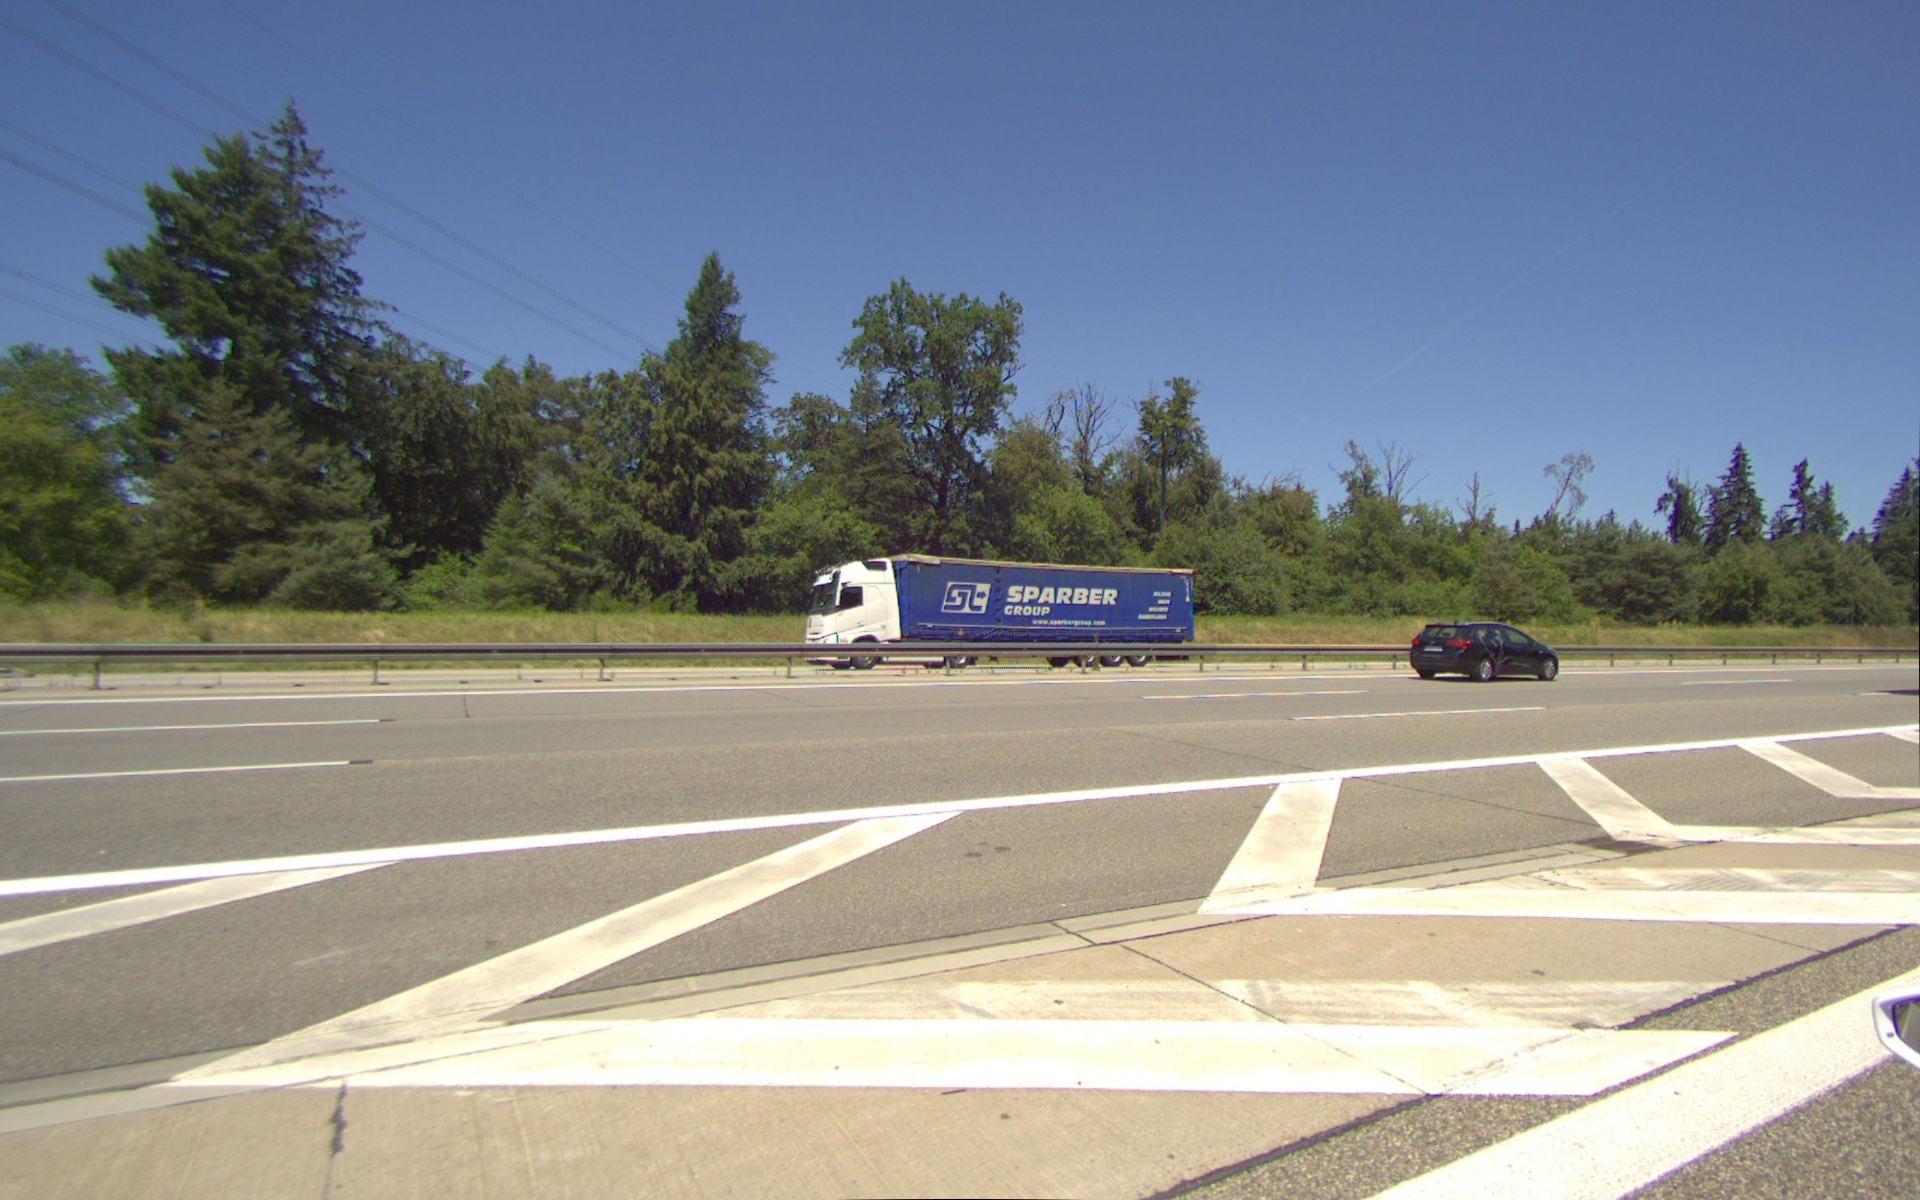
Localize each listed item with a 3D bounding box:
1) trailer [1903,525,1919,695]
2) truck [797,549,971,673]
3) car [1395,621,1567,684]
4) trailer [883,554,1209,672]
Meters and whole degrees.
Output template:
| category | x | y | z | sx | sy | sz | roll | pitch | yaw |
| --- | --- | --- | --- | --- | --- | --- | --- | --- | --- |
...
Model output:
| category | x | y | z | sx | sy | sz | roll | pitch | yaw |
| --- | --- | --- | --- | --- | --- | --- | --- | --- | --- |
| trailer | 25.885 | 0.288 | 23.710 | 8.998 | 3.808 | 2.725 | 1 | -1 | -29 |
| truck | -2.813 | 0.498 | 37.245 | 5.653 | 4.227 | 3.190 | 2 | -2 | -29 |
| car | 13.441 | 1.303 | 25.855 | 4.539 | 1.494 | 1.697 | 1 | -1 | -28 |
| trailer | 3.834 | 0.694 | 40.903 | 13.812 | 4.227 | 3.190 | 2 | -3 | -29 |
